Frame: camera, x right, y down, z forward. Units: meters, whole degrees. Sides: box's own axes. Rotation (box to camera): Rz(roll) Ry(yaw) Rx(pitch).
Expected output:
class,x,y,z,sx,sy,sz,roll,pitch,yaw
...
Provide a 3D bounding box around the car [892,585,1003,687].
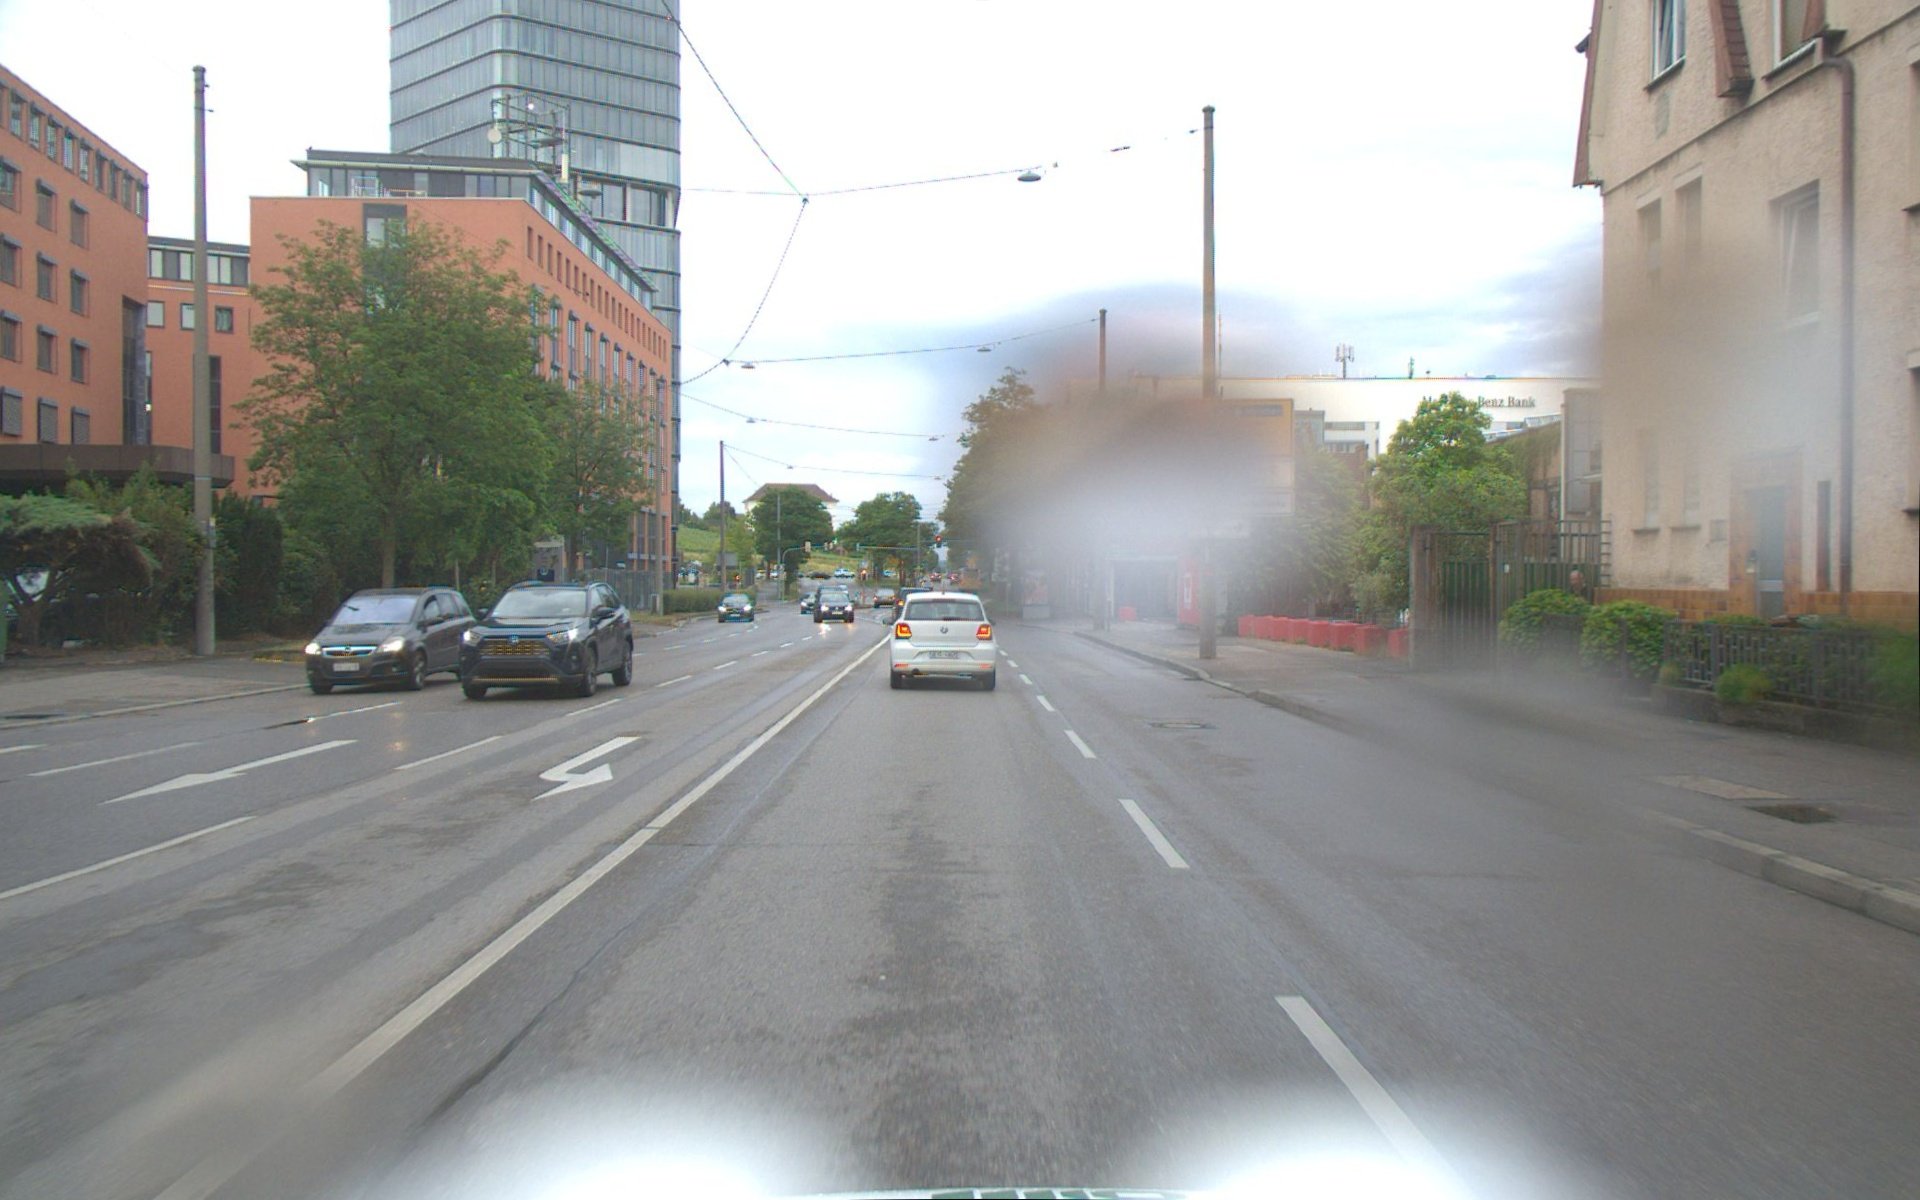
class,x,y,z,sx,sy,sz,roll,pitch,yaw
car,-0.258,0.522,26.399,1.637,1.499,3.778,0,0,-2

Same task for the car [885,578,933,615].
class,x,y,z,sx,sy,sz,roll,pitch,yaw
car,-2.245,-0.166,73.570,1.952,1.601,4.000,0,0,1

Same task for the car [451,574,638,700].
class,x,y,z,sx,sy,sz,roll,pitch,yaw
car,-6.145,0.476,24.969,1.721,1.582,4.450,-2,2,-1

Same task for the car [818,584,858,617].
class,x,y,z,sx,sy,sz,roll,pitch,yaw
car,-5.746,0.012,78.151,1.625,1.512,3.819,0,0,-1

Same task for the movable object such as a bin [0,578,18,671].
class,x,y,z,sx,sy,sz,roll,pitch,yaw
movable object such as a bin,-16.330,0.431,27.011,1.365,1.517,0.949,-2,-2,-10

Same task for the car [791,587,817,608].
class,x,y,z,sx,sy,sz,roll,pitch,yaw
car,-10.841,-0.166,114.857,1.678,1.389,3.997,-1,0,-4

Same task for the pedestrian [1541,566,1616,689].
class,x,y,z,sx,sy,sz,roll,pitch,yaw
pedestrian,9.298,0.401,24.885,0.892,1.794,0.768,2,0,11

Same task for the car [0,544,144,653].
class,x,y,z,sx,sy,sz,roll,pitch,yaw
car,-18.720,0.026,33.917,1.799,2.049,4.314,-2,-1,-1

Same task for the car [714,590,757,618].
class,x,y,z,sx,sy,sz,roll,pitch,yaw
car,-11.834,0.197,87.569,1.588,1.346,4.447,-2,1,1

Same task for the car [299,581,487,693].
class,x,y,z,sx,sy,sz,roll,pitch,yaw
car,-9.266,0.545,27.355,1.673,1.593,4.034,-2,1,0
